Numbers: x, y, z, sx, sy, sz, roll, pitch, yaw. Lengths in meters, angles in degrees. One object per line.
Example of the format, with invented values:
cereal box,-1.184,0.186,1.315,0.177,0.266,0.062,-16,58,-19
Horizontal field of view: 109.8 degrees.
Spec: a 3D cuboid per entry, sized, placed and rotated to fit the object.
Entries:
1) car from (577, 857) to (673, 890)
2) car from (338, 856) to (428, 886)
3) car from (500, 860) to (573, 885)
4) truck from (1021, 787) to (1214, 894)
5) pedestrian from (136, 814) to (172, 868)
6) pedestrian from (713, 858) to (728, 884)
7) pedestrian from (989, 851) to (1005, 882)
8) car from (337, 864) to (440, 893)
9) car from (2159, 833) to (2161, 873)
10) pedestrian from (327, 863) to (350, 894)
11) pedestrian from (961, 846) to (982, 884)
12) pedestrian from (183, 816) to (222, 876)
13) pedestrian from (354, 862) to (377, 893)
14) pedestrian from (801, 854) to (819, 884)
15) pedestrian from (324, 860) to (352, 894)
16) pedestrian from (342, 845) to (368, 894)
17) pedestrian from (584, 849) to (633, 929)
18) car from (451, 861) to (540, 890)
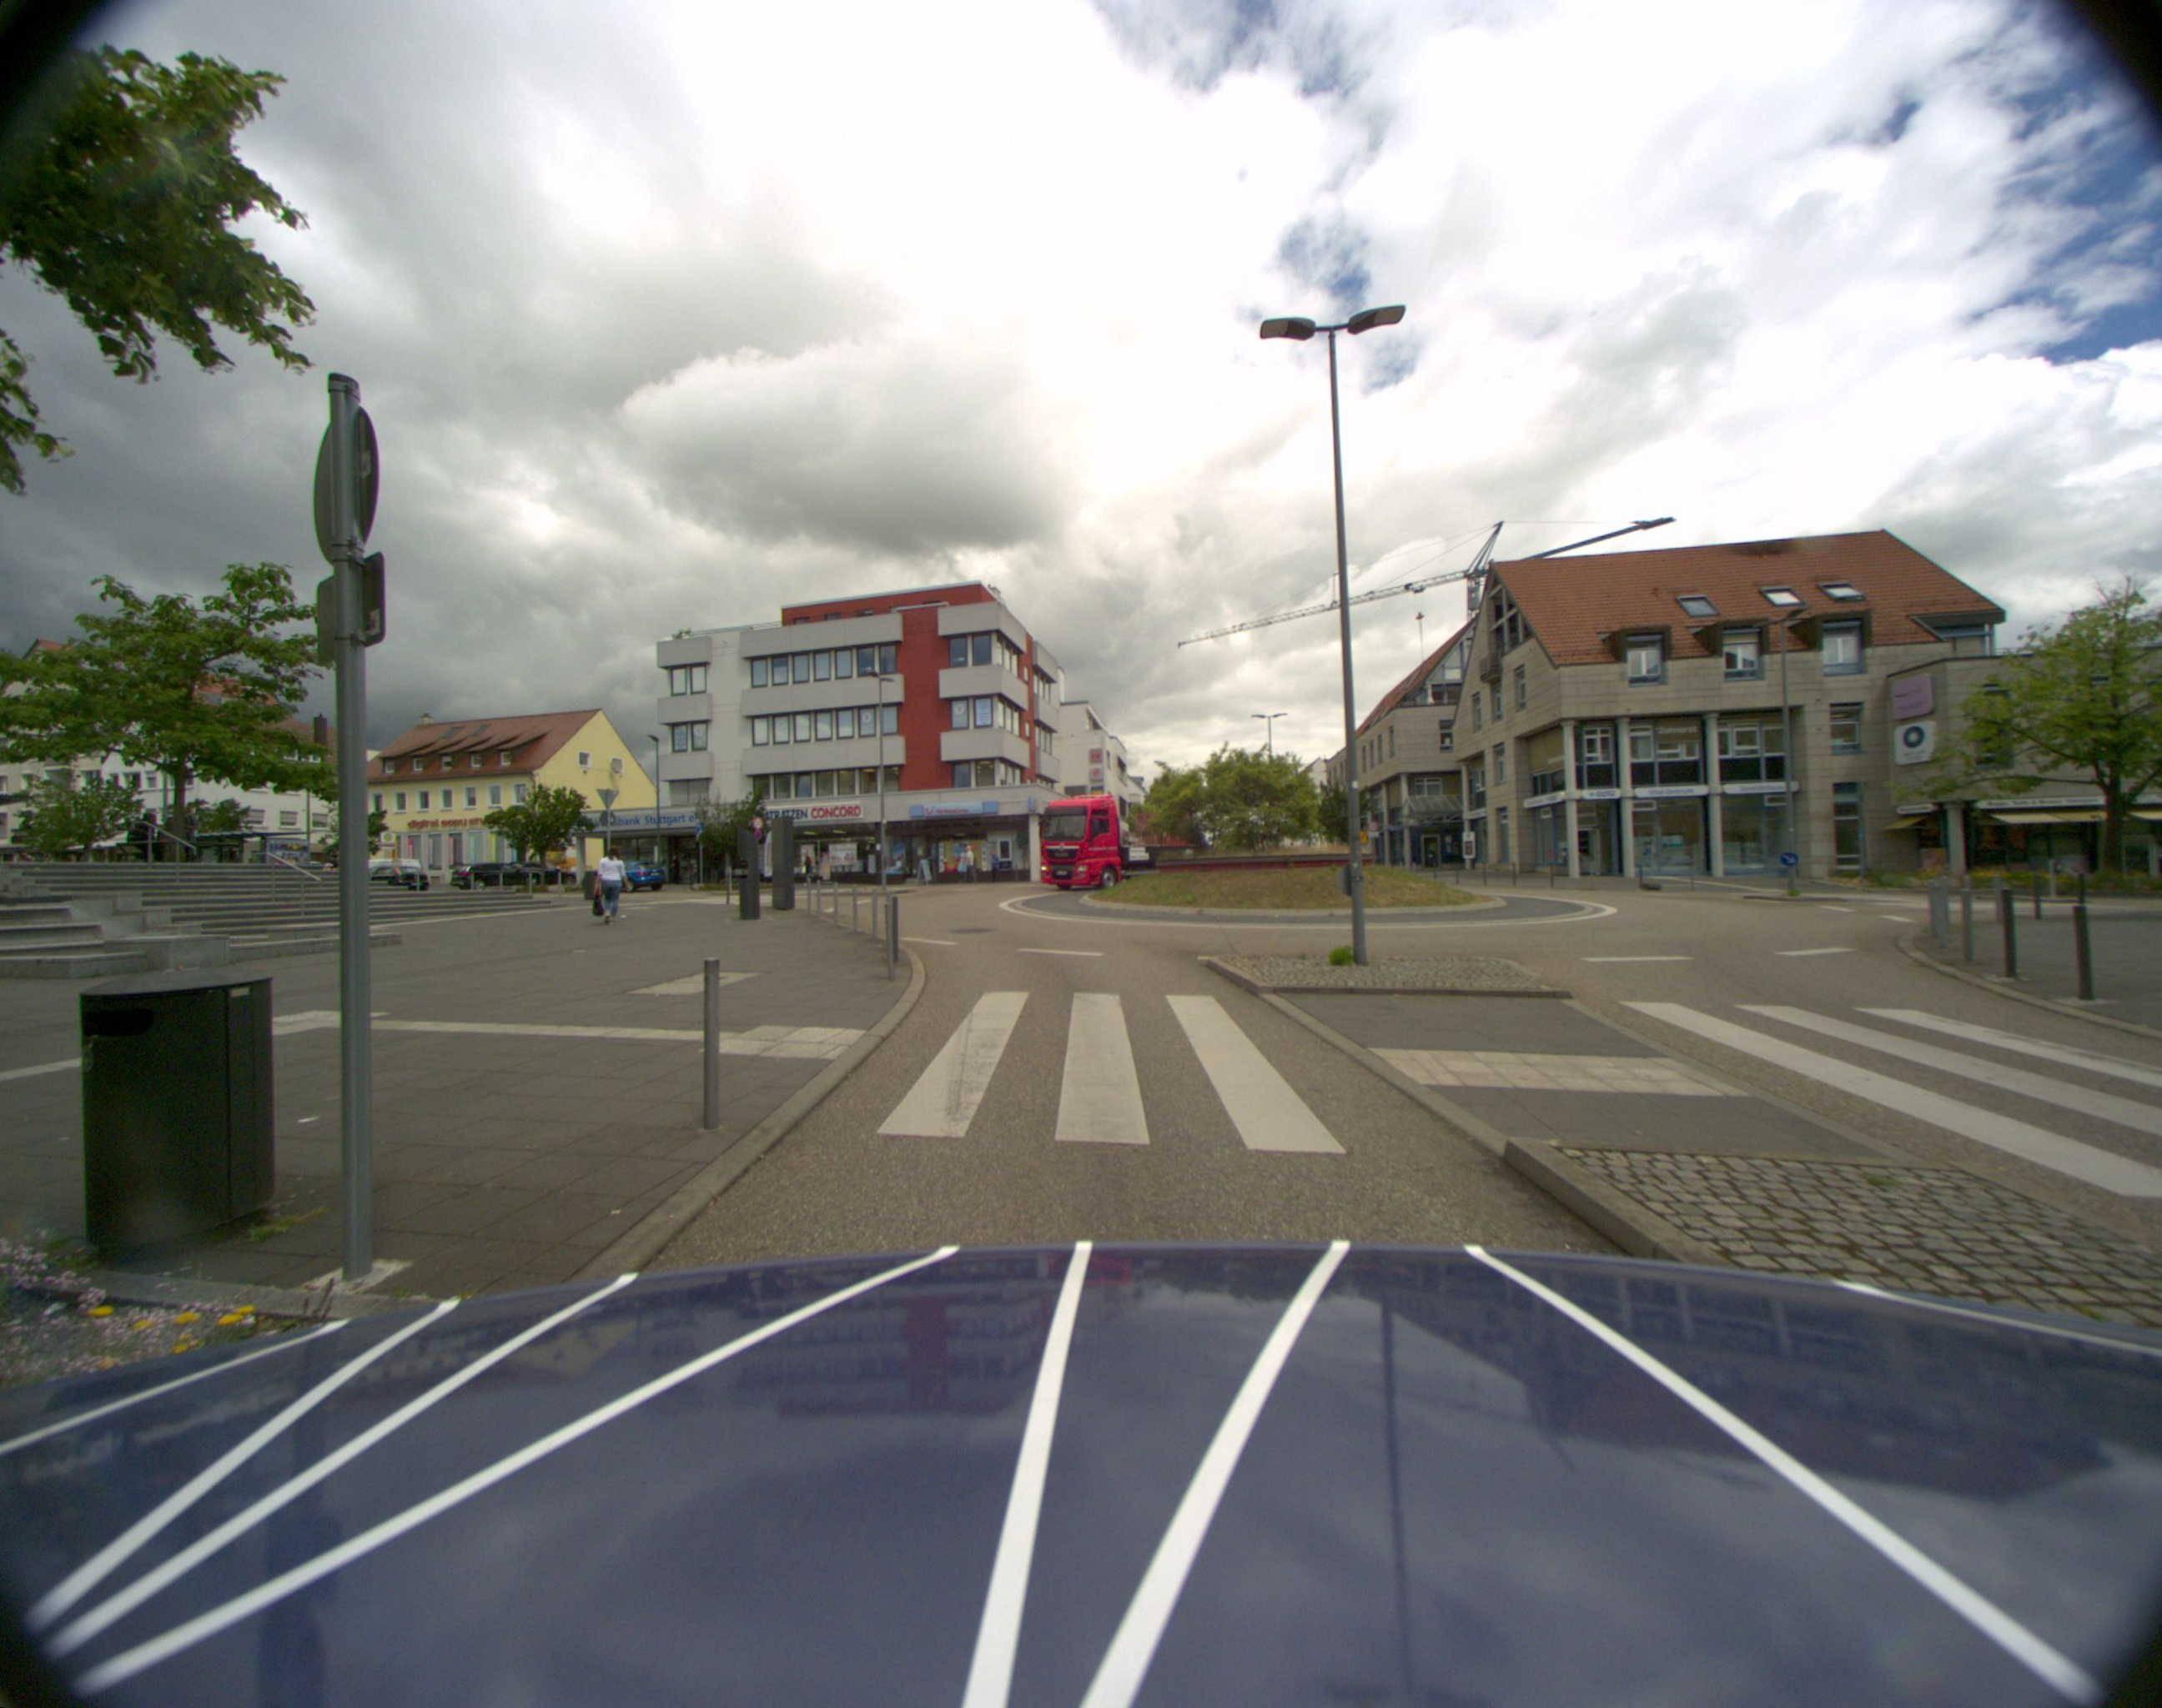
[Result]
car,-23.615,1.021,39.369,4.323,1.591,1.701,-1,2,16
car,-43.029,1.052,46.883,4.469,1.803,1.763,0,1,12
car,-35.136,1.184,49.146,1.665,1.549,3.643,0,0,13
truck,2.030,-0.501,33.511,2.958,4.004,10.618,0,0,38
pedestrian,-22.860,-0.311,18.732,0.640,1.277,0.364,-2,-1,19
pedestrian,-23.535,1.119,49.642,0.586,1.694,0.645,-3,-2,4
pedestrian,-4.314,0.638,38.969,0.607,1.594,0.567,-2,0,-25
car,-35.695,1.254,39.209,4.113,1.411,1.705,0,1,9
car,45.951,-0.386,28.251,2.208,2.545,6.293,1,1,-19
pedestrian,-27.188,0.900,27.817,0.382,1.141,0.441,-1,-2,15
pedestrian,-5.460,0.525,37.910,0.679,1.864,0.807,-1,1,29
pedestrian,-22.629,-0.195,19.569,0.453,1.499,0.505,-1,-1,14
pedestrian,-27.343,0.917,29.042,0.390,1.165,0.477,0,-2,14
pedestrian,-14.679,0.804,41.154,0.637,1.579,0.589,-1,1,12
pedestrian,-28.957,0.898,29.599,0.600,1.295,0.432,2,-3,-19
pedestrian,-27.115,0.582,28.384,0.434,1.811,0.542,-1,-3,23
pedestrian,-10.478,0.762,16.884,0.707,1.735,0.775,0,0,-14
car,-33.666,1.206,43.719,1.890,1.515,3.744,2,1,40
